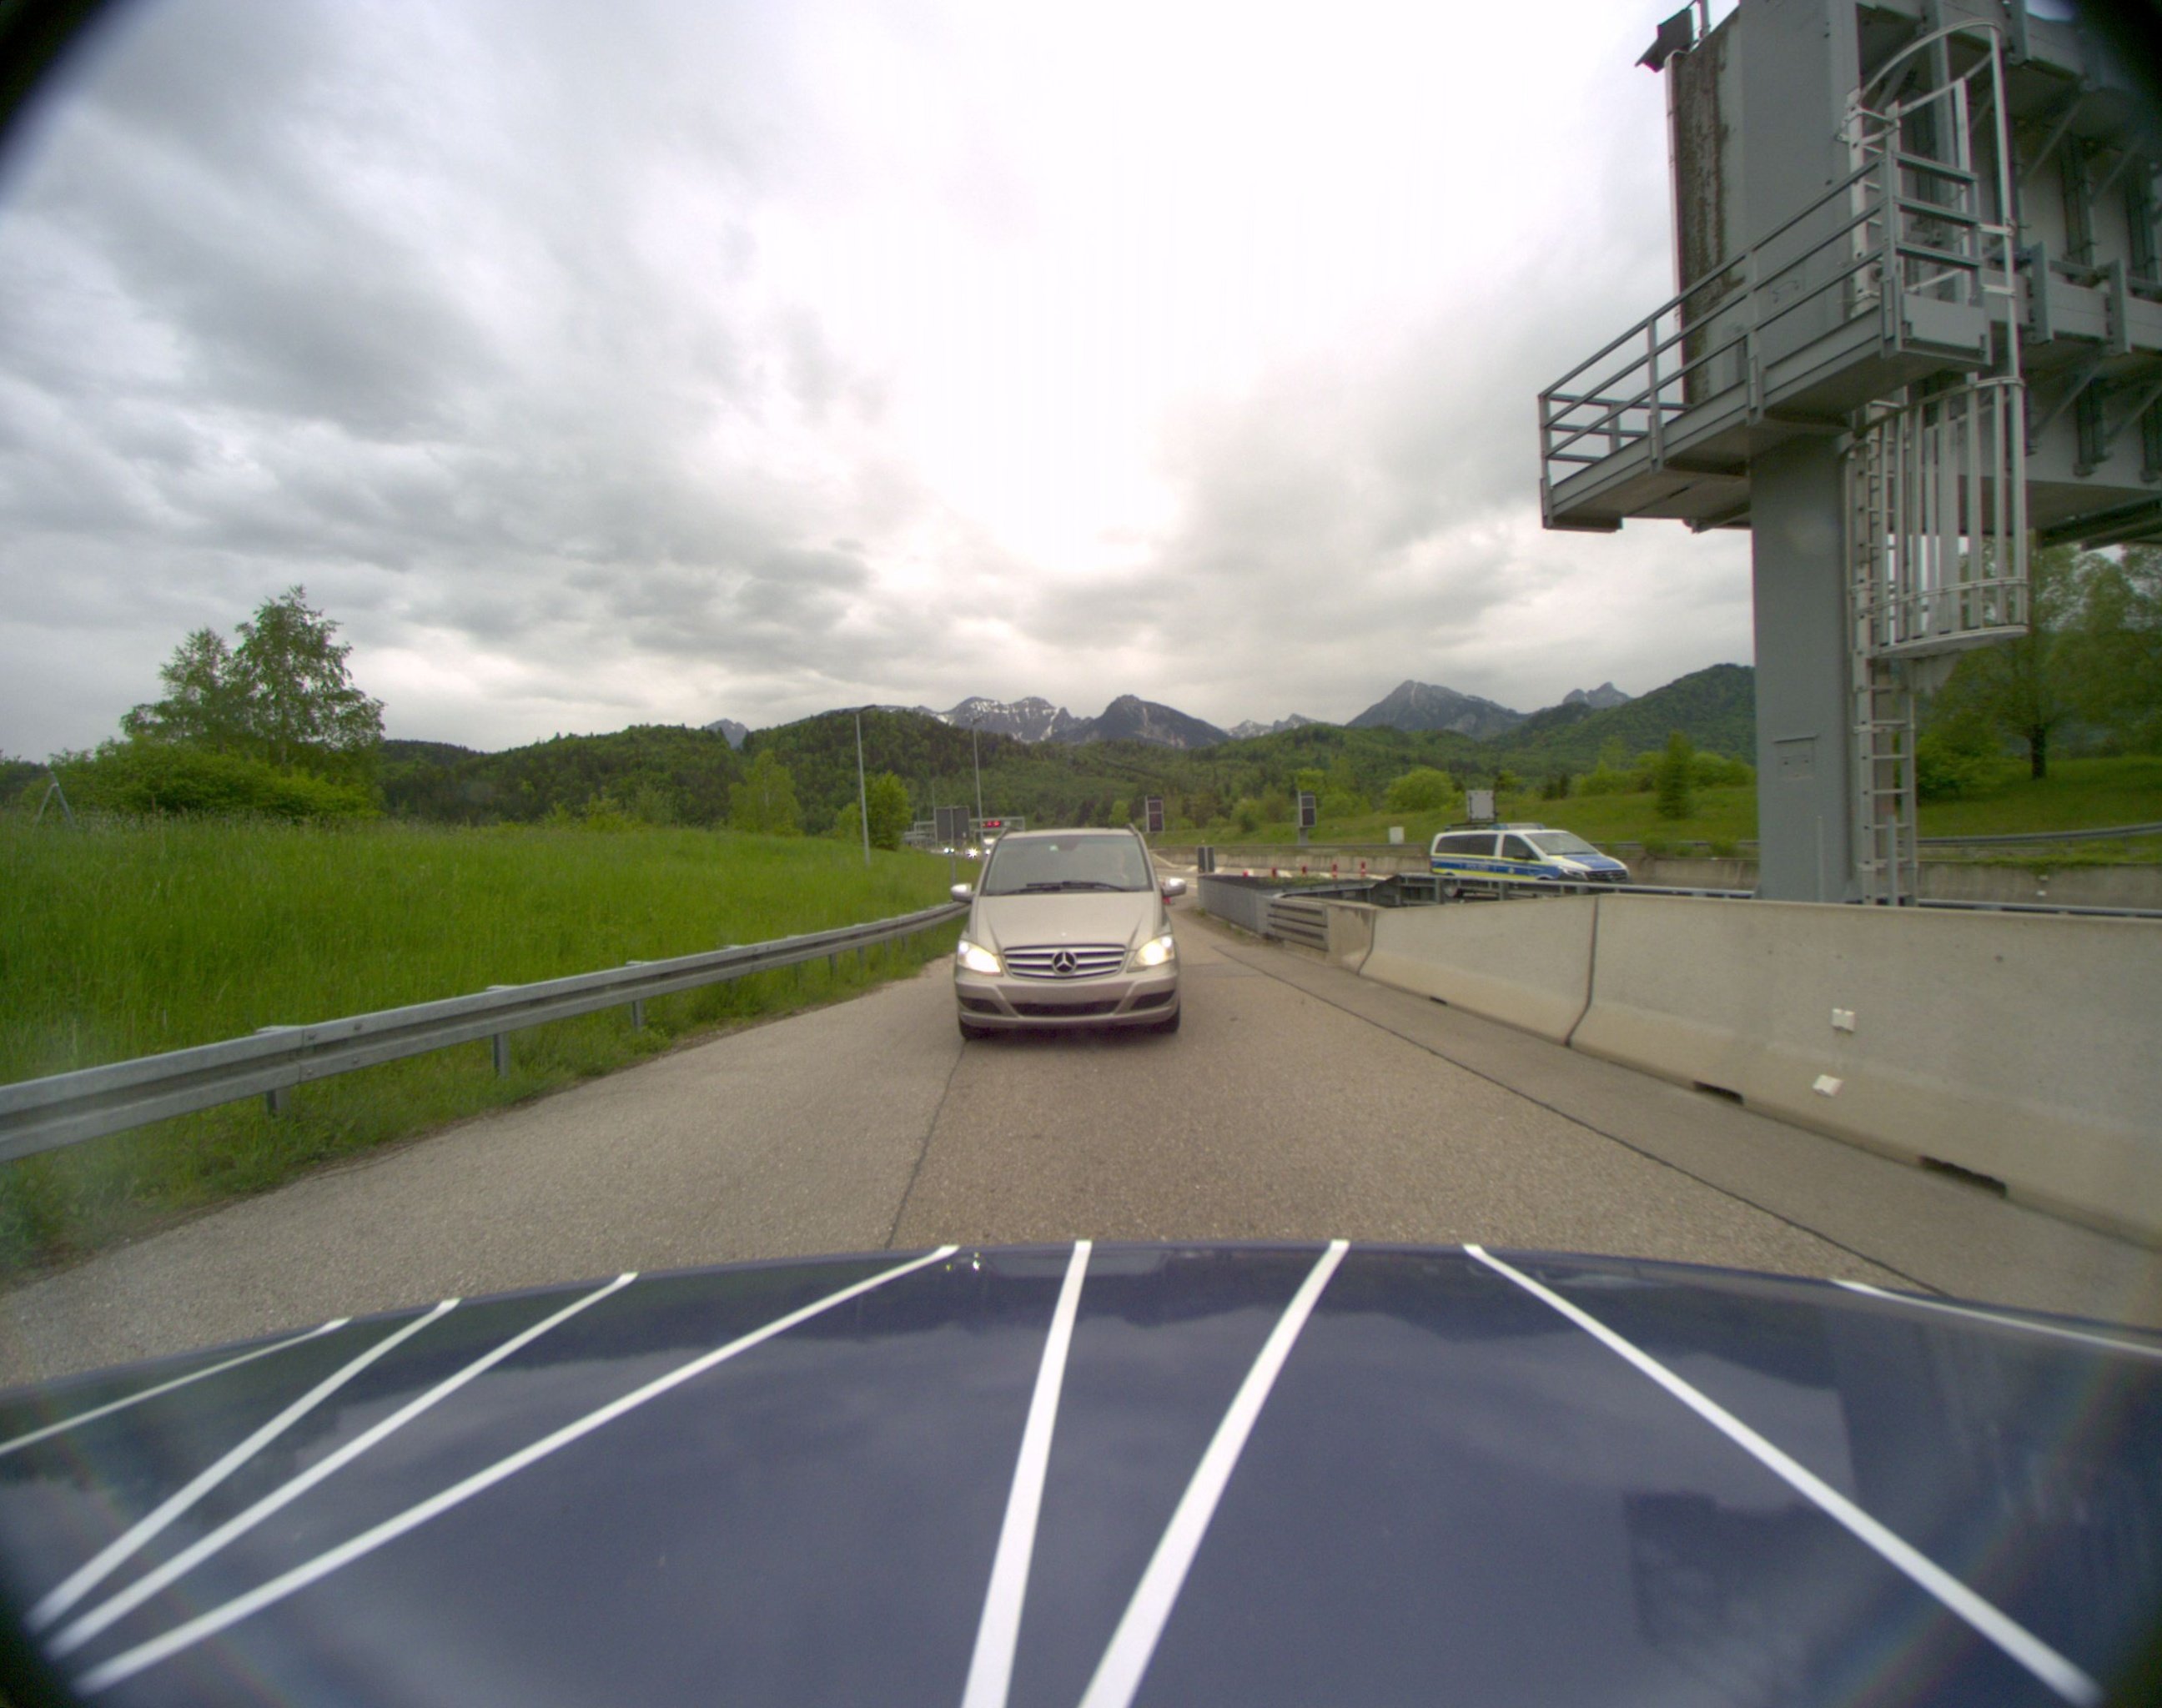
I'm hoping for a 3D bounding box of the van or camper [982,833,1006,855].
[{"bbox_3d":[-13.808,-1.594,120.314,2.585,3.372,7.345,-2,1,-15],"label":"van or camper"}]

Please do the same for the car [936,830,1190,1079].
[{"bbox_3d":[-0.099,0.717,8.488,1.862,1.833,5.616,-1,1,1],"label":"car"}]

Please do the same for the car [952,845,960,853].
[{"bbox_3d":[-32.915,-1.344,199.743,1.868,1.861,3.995,-2,1,-11],"label":"car"}]

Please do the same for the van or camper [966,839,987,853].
[{"bbox_3d":[-20.888,-1.587,152.144,3.345,2.629,8.190,-2,1,-13],"label":"van or camper"}]

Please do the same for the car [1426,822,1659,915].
[{"bbox_3d":[11.333,0.287,19.213,2.106,2.002,5.045,-2,1,-13],"label":"car"}]

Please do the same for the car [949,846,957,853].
[{"bbox_3d":[-33.876,-1.219,200.581,1.722,1.629,4.342,-2,1,-14],"label":"car"}]

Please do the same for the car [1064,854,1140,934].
[{"bbox_3d":[0.488,0.854,18.146,1.591,1.662,4.000,-1,0,1],"label":"car"}]
